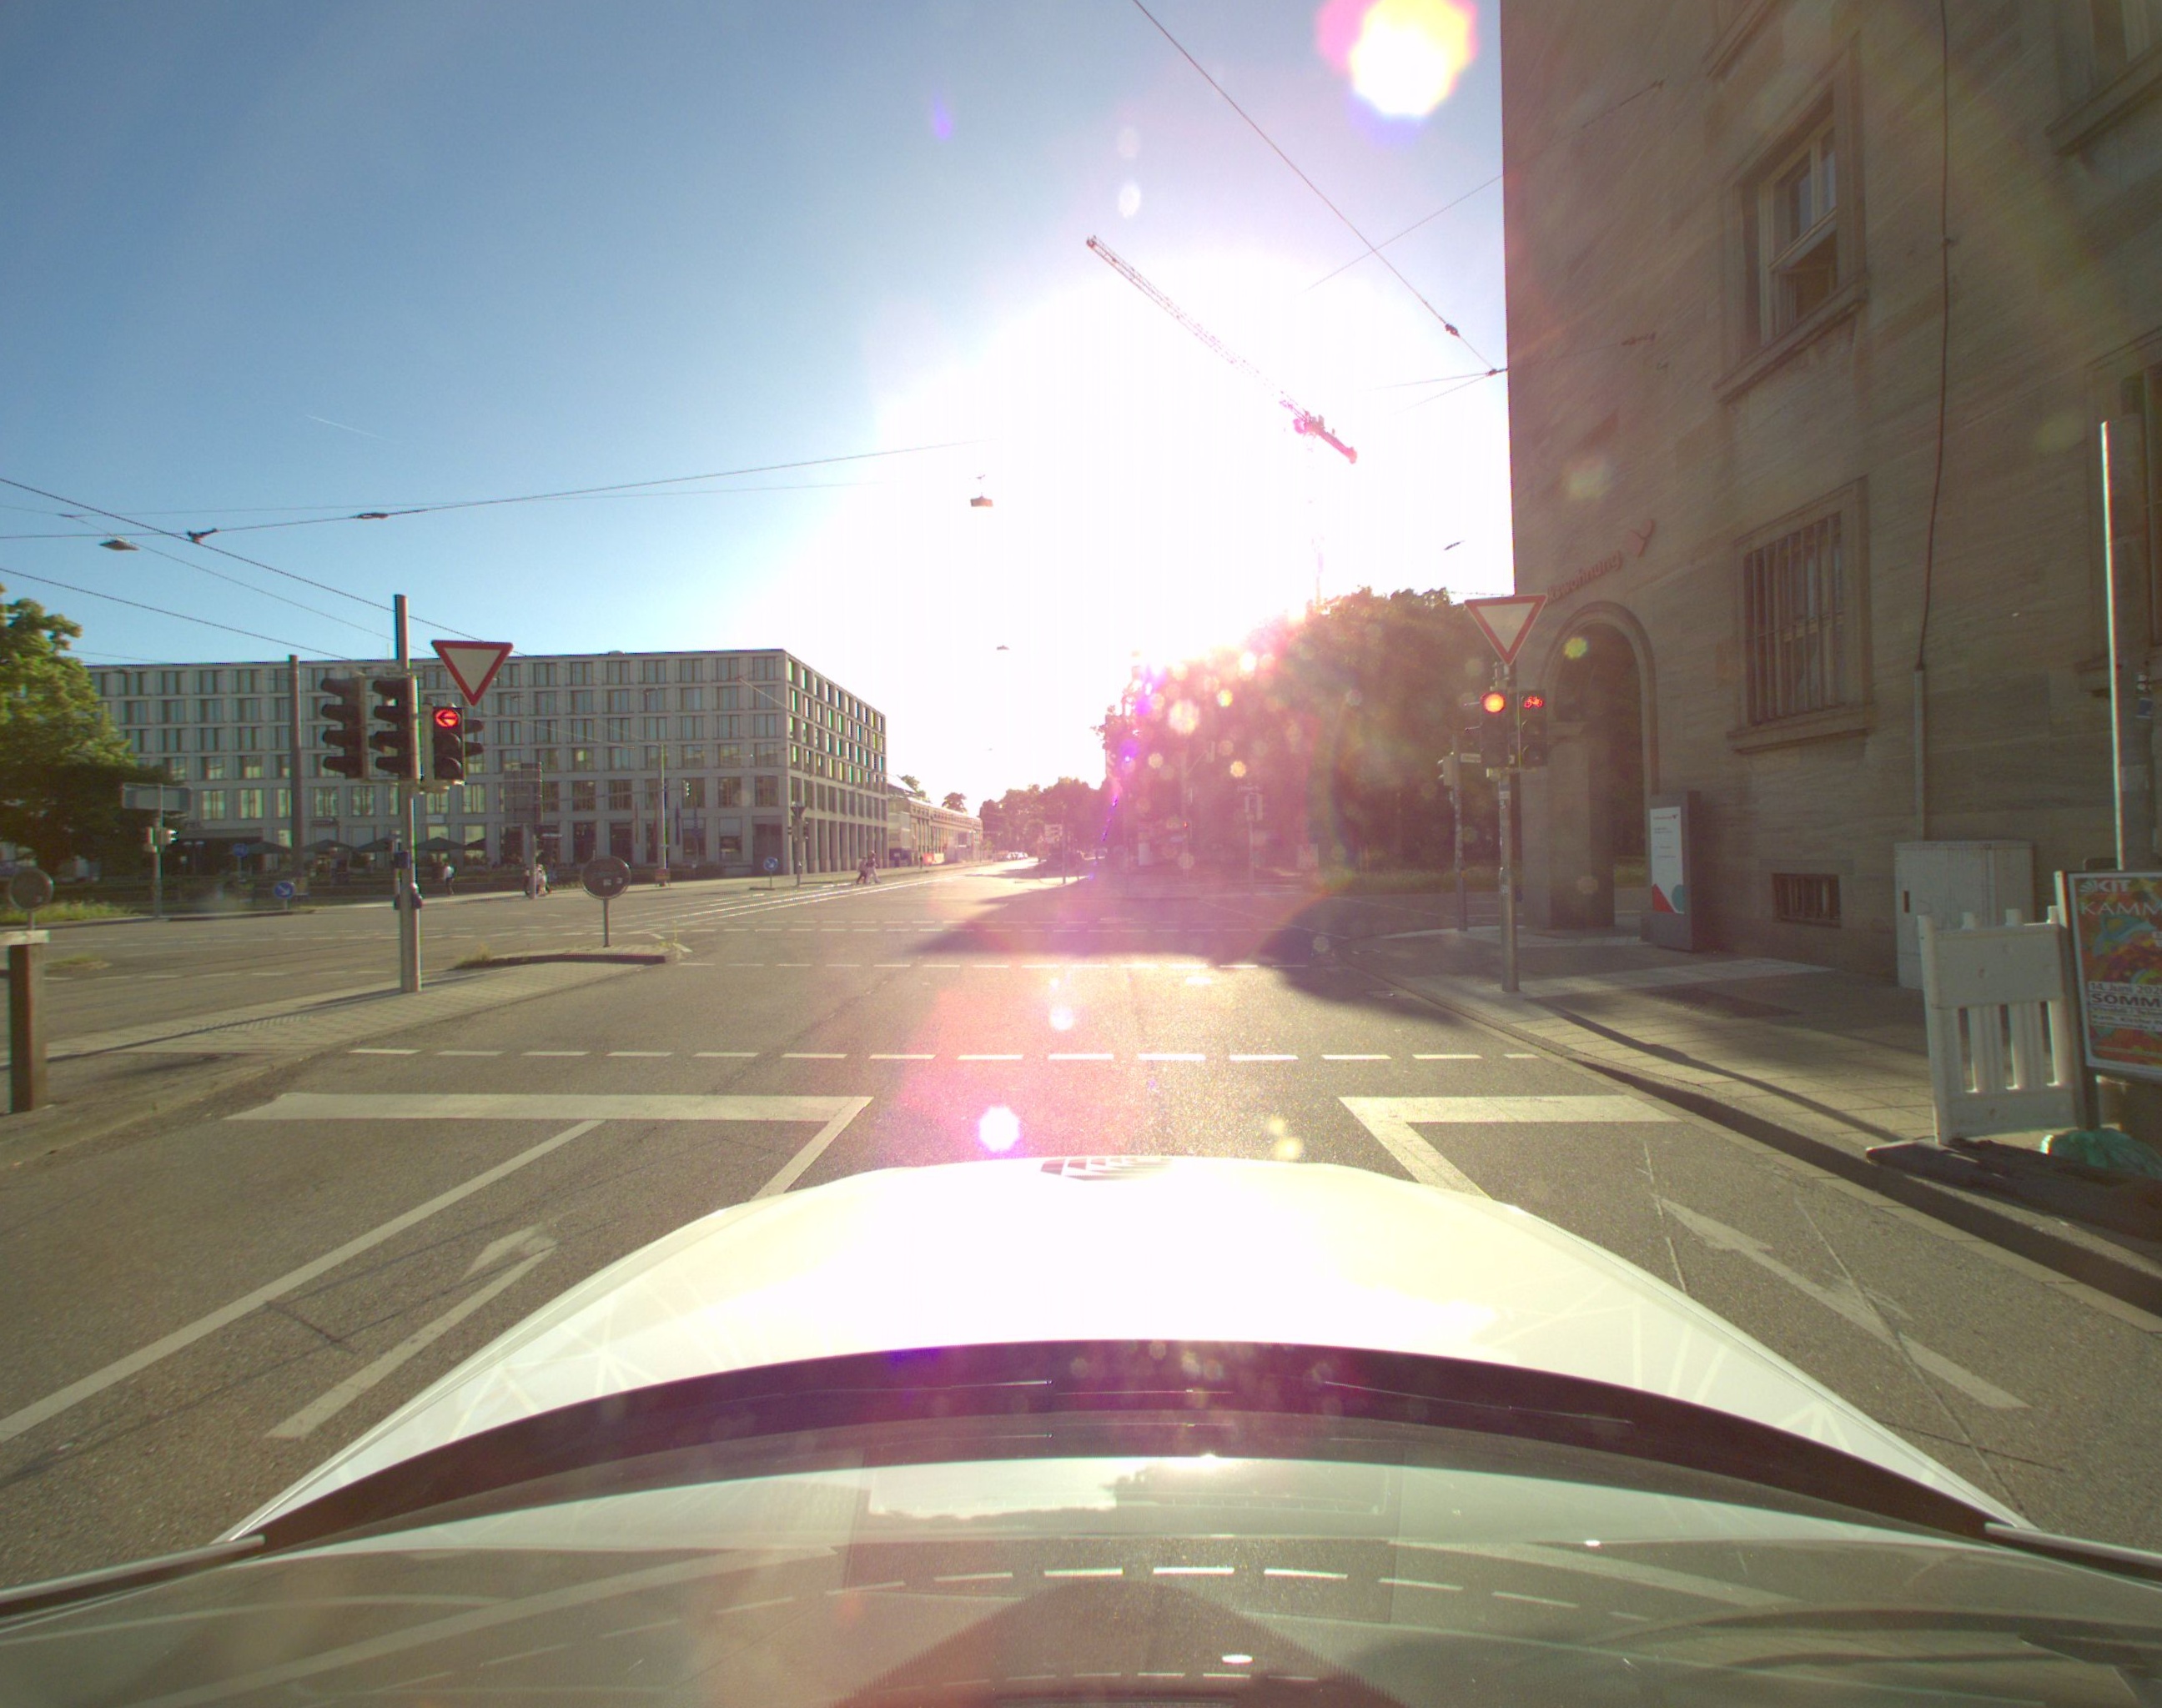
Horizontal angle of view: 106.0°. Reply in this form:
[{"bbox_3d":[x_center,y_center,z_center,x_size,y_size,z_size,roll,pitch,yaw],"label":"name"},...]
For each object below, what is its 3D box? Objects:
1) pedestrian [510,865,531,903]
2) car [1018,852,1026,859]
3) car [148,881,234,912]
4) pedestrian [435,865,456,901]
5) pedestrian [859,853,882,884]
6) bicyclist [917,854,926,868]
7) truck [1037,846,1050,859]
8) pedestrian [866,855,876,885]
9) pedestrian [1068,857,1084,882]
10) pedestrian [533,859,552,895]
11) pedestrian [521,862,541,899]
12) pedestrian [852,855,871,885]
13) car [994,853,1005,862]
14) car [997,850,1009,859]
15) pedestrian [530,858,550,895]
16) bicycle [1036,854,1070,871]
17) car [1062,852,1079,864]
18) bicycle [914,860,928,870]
[{"bbox_3d":[-30.250,1.620,43.962,0.528,2.013,0.800,-2,0,-5],"label":"pedestrian"},{"bbox_3d":[-14.082,0.337,194.186,1.478,1.750,4.002,-2,0,2],"label":"car"},{"bbox_3d":[-46.755,2.225,42.794,3.167,1.438,1.474,-2,0,8],"label":"car"},{"bbox_3d":[-34.491,1.585,44.209,0.557,1.903,0.684,-2,0,10],"label":"pedestrian"},{"bbox_3d":[-11.252,0.775,43.540,0.980,1.587,0.661,-2,-1,3],"label":"pedestrian"},{"bbox_3d":[-19.819,0.837,101.076,0.872,1.641,0.822,-2,0,3],"label":"bicyclist"},{"bbox_3d":[-6.269,-0.209,136.181,1.908,2.092,4.002,-2,0,2],"label":"truck"},{"bbox_3d":[-11.686,0.892,45.341,0.440,1.662,0.376,-2,0,1],"label":"pedestrian"},{"bbox_3d":[-0.278,0.827,44.356,0.749,1.332,0.743,-2,0,5],"label":"pedestrian"},{"bbox_3d":[-30.761,1.330,46.527,0.528,2.013,0.800,-2,0,-5],"label":"pedestrian"},{"bbox_3d":[-30.689,1.463,45.455,0.528,2.013,0.800,-2,0,-5],"label":"pedestrian"},{"bbox_3d":[-11.938,0.864,44.321,0.792,1.639,0.534,-2,0,4],"label":"pedestrian"},{"bbox_3d":[-15.655,0.583,156.628,1.724,1.653,4.002,-2,0,2],"label":"car"},{"bbox_3d":[-15.389,0.071,160.733,1.724,1.653,4.002,-2,0,2],"label":"car"},{"bbox_3d":[-30.039,1.235,45.218,0.528,2.013,0.800,-2,0,-5],"label":"pedestrian"},{"bbox_3d":[-2.325,0.728,67.369,2.728,1.367,0.633,-1,-1,12],"label":"bicycle"},{"bbox_3d":[-1.167,0.433,92.083,1.814,1.279,3.999,-2,0,0],"label":"car"},{"bbox_3d":[-19.826,1.322,101.015,0.872,1.121,3.015,-2,0,3],"label":"bicycle"}]
